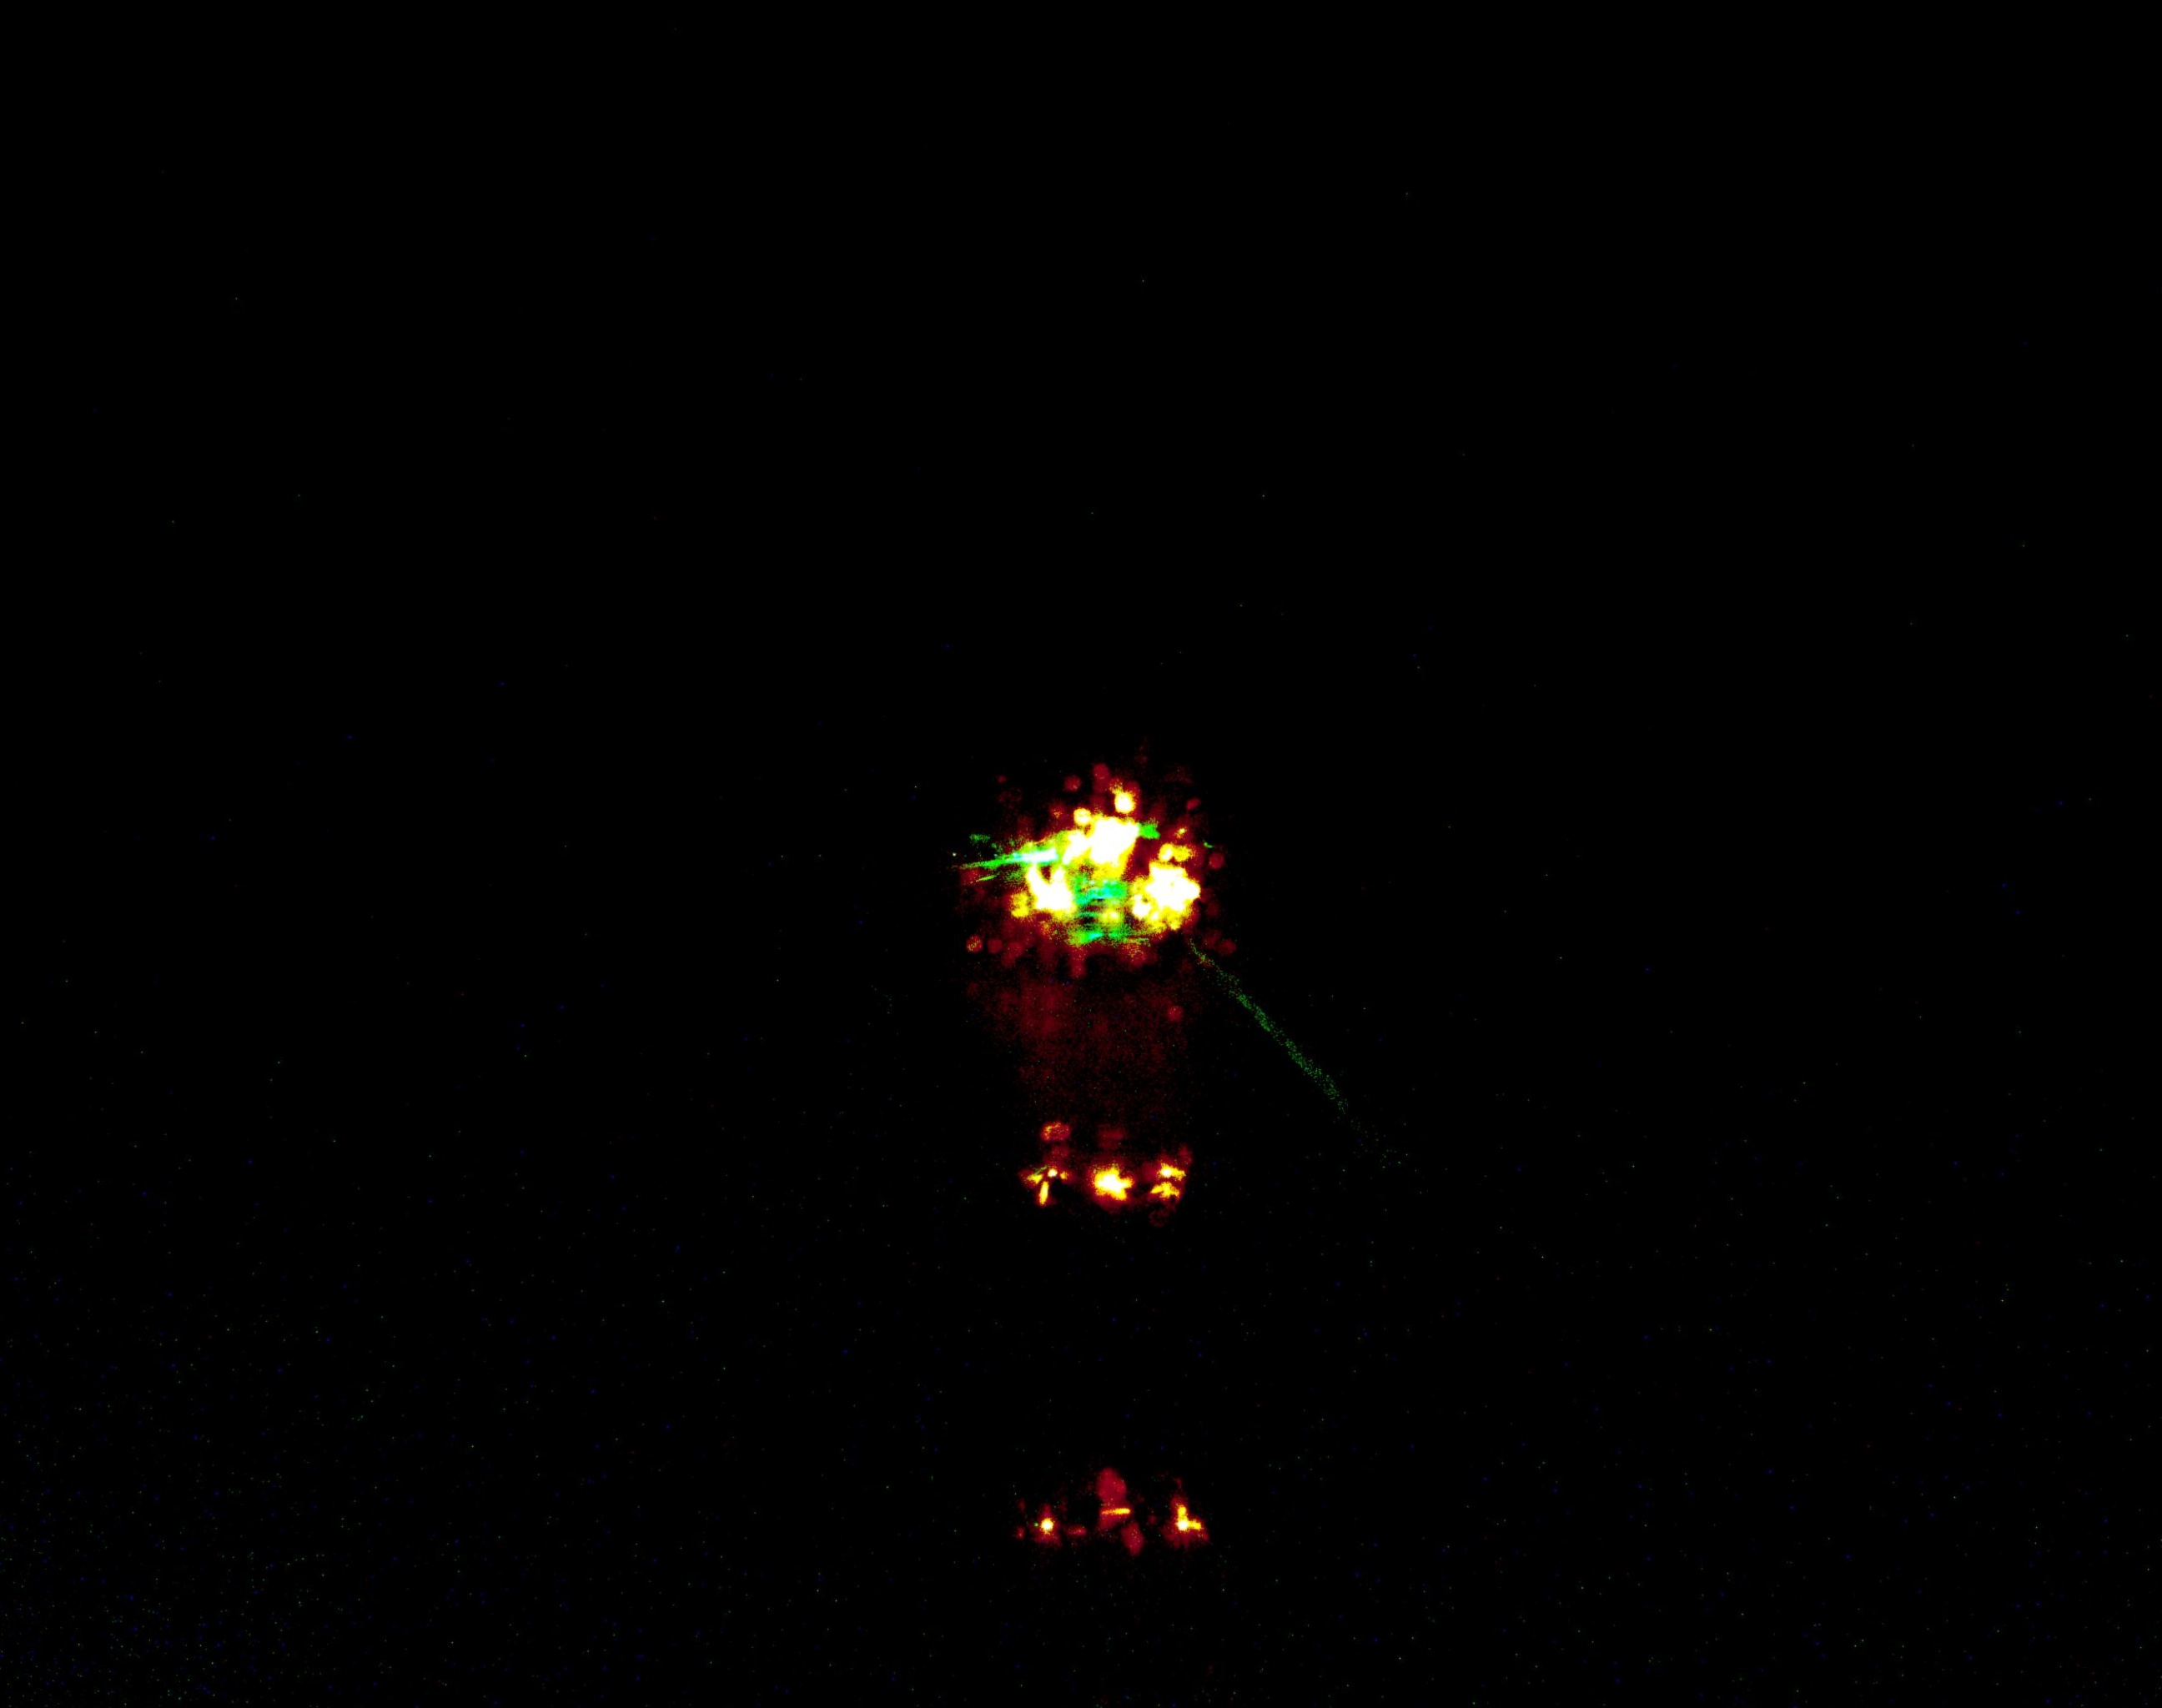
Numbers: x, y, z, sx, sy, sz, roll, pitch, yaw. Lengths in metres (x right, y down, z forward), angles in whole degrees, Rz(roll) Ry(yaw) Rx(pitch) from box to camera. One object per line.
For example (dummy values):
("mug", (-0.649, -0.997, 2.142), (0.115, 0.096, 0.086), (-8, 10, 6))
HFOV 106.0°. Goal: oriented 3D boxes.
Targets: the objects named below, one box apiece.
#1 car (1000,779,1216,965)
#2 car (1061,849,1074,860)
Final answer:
("car", (0.409, 0.201, 13.403), (2.706, 2.307, 6.102), (-1, 0, 1))
("car", (-1.864, 0.093, 112.085), (1.537, 1.510, 3.883), (-1, 0, 3))
